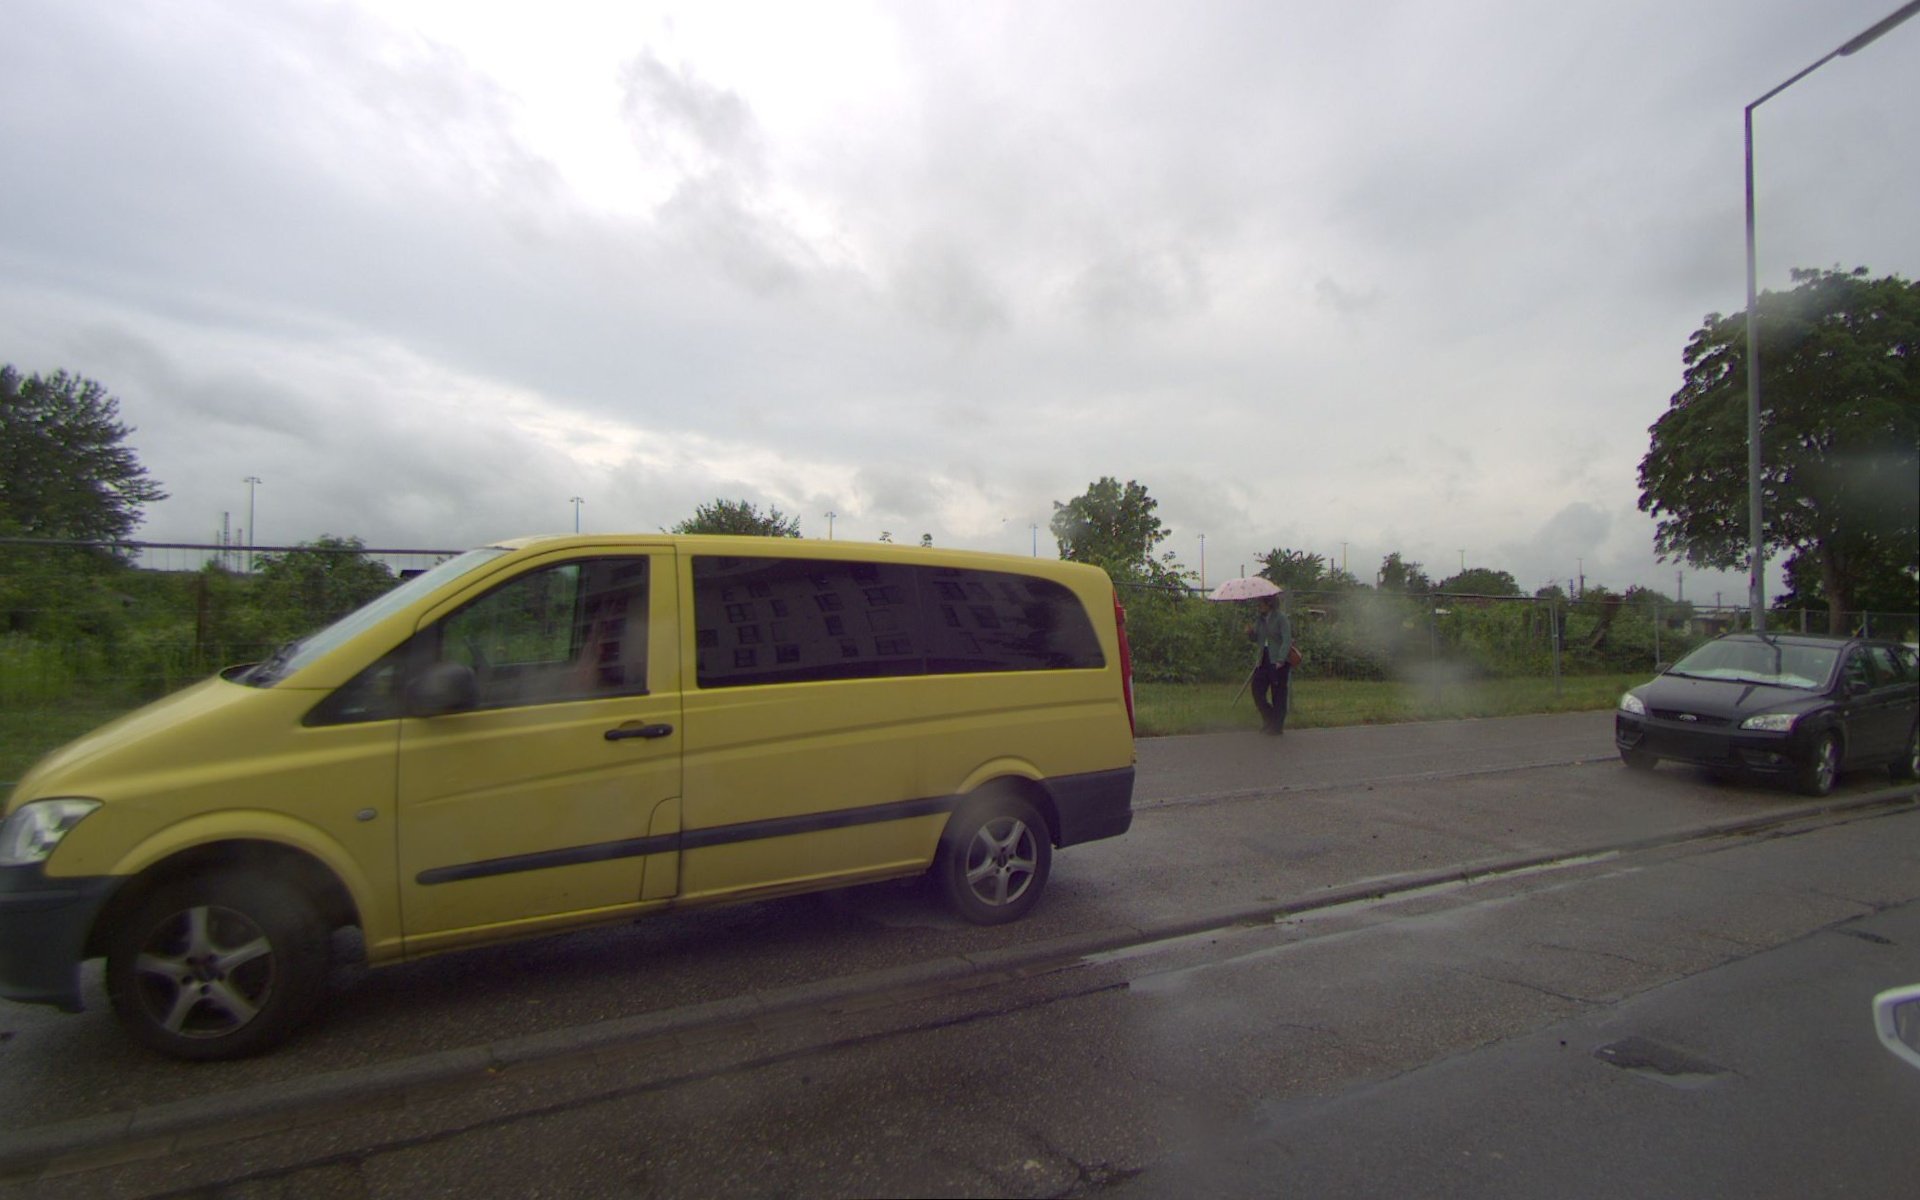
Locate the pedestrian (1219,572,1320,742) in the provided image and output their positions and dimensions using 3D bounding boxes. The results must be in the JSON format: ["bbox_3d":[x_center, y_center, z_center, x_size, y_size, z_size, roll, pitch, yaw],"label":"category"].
[{"bbox_3d":[3.899,0.698,12.659,0.968,2.040,0.739,1,-1,-30],"label":"pedestrian"}]

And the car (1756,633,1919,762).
[{"bbox_3d":[13.435,1.265,13.930,5.278,1.453,2.000,2,1,-31],"label":"car"}]

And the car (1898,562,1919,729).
[{"bbox_3d":[18.781,0.829,17.190,6.007,2.730,2.182,1,1,-29],"label":"car"}]

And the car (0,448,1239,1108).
[{"bbox_3d":[-1.519,0.578,4.995,5.995,1.982,2.007,2,0,-31],"label":"car"}]

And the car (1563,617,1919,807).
[{"bbox_3d":[9.007,1.075,11.056,4.961,1.615,1.983,2,0,-32],"label":"car"}]
